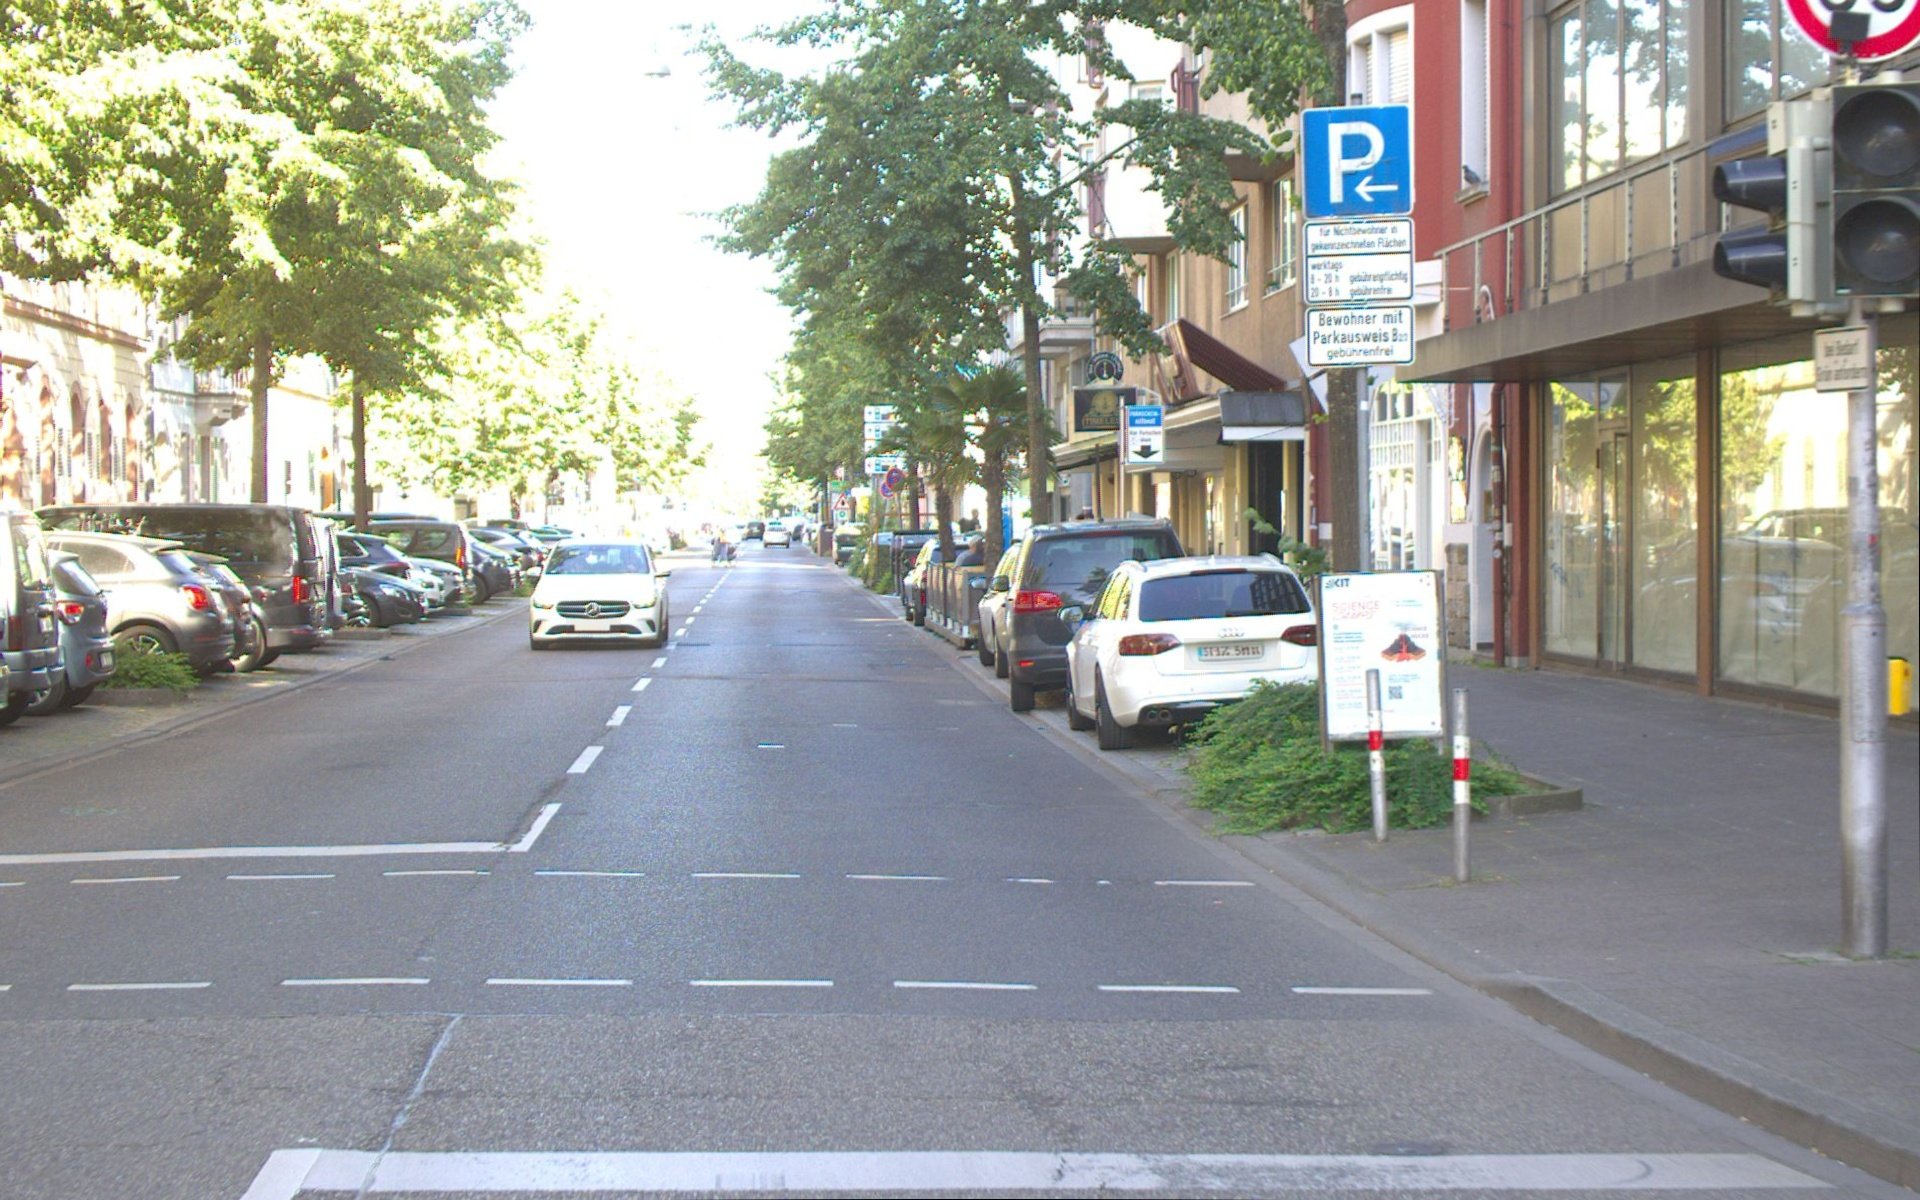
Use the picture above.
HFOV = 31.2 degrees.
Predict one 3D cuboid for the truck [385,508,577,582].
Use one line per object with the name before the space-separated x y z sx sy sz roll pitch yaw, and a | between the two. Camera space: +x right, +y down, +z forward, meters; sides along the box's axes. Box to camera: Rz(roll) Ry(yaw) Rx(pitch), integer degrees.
truck | -13.186 -1.531 94.864 5.084 1.931 2.000 -1 1 -3

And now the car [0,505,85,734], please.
car | -9.576 0.128 28.171 4.339 1.818 1.930 0 1 -1

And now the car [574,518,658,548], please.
car | -16.558 -3.212 165.640 3.986 1.385 2.000 -1 2 -4

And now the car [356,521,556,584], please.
car | -12.376 -1.167 84.632 4.680 1.514 1.808 0 1 -1

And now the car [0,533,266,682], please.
car | -9.950 0.062 37.824 4.338 1.590 1.917 0 1 -5

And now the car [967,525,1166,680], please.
car | 1.163 -0.028 39.816 1.822 1.591 4.843 -3 2 -3

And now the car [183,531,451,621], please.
car | -11.316 -0.436 60.764 4.465 1.535 1.917 0 1 -4

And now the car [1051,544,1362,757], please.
car | 1.829 0.323 27.042 1.822 1.398 4.842 -3 2 -3

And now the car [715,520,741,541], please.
car | -16.921 -5.063 251.063 1.802 1.430 4.410 -3 2 -4

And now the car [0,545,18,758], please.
car | -9.245 0.364 25.465 4.338 1.539 1.965 0 1 -14

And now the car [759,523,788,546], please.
car | -11.984 -4.188 220.880 1.792 1.406 4.001 -1 2 -3

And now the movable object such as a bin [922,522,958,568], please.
movable object such as a bin | -0.735 -2.021 125.765 1.205 1.622 1.498 -1 1 -5

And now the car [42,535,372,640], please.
car | -10.569 -0.185 48.486 4.338 1.434 1.917 0 1 -5

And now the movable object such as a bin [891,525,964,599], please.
movable object such as a bin | -0.662 -0.769 68.906 1.398 1.449 1.146 -1 1 -3

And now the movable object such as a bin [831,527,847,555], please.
movable object such as a bin | -5.132 -2.484 145.258 0.621 1.175 0.712 -1 2 -5

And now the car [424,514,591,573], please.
car | -13.189 -1.645 100.405 4.680 1.687 1.808 0 1 -1

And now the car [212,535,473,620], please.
car | -11.378 -0.429 63.521 4.466 1.535 1.917 0 1 1

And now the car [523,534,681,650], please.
car | -4.976 -0.150 48.280 1.910 1.539 4.354 0 1 -2

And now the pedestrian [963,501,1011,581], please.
pedestrian | 0.649 -1.424 83.293 0.926 1.929 0.760 0 1 22

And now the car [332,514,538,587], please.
car | -12.486 -1.179 81.926 4.680 1.706 1.808 0 1 -1

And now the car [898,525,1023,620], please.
car | -0.038 -0.500 59.203 1.822 1.467 4.912 -3 2 -3

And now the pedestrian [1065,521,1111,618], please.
pedestrian | 2.256 -0.539 60.516 0.502 1.690 0.630 -2 1 -40

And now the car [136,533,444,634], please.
car | -10.448 -0.276 53.847 4.466 1.535 1.917 0 1 -1

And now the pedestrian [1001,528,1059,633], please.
pedestrian | 1.027 -0.291 50.467 0.712 1.531 0.769 -1 1 11

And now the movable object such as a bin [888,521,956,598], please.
movable object such as a bin | -0.775 -0.832 70.065 1.330 1.537 1.146 -1 1 -3

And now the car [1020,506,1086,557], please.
car | 3.043 -2.282 113.691 1.900 1.642 4.294 -1 1 -2

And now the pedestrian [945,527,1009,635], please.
pedestrian | 0.247 -0.276 49.156 0.749 1.531 0.807 -1 1 11

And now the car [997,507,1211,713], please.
car | 1.325 0.023 33.451 1.822 1.771 4.931 -3 2 1

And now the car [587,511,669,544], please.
car | -17.244 -3.765 178.528 3.987 1.688 2.000 -1 2 2

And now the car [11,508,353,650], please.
car | -10.300 -0.288 45.643 4.338 1.827 1.917 0 1 -13

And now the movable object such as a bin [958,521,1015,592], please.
movable object such as a bin | 0.531 -0.894 70.131 1.077 1.426 1.295 -1 1 -3

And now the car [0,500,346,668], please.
car | -9.703 -0.202 40.579 4.573 1.920 1.930 0 1 0

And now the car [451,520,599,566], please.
car | -13.990 -1.829 110.754 4.679 1.460 1.808 0 1 -6

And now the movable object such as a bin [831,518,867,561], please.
movable object such as a bin | -4.149 -2.266 128.167 1.143 1.556 1.459 -1 1 5

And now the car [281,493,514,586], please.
car | -11.940 -1.296 73.140 4.680 1.943 1.917 0 1 -1

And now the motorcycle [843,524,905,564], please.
motorcycle | -2.953 -1.936 117.879 1.977 1.325 0.912 -1 2 -15

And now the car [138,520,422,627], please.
car | -11.091 -0.448 56.304 4.339 1.703 1.917 0 1 -3

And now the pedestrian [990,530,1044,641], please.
pedestrian | 0.789 -0.214 48.064 0.692 1.531 0.776 -1 1 -2

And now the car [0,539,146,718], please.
car | -9.707 0.225 30.853 4.339 1.539 1.917 0 1 1

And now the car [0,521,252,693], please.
car | -9.614 0.047 35.428 4.338 1.727 1.917 0 1 -5

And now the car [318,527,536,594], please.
car | -11.829 -0.890 76.510 4.645 1.454 1.684 0 1 -3

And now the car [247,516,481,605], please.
car | -12.081 -0.813 69.920 4.466 1.766 1.917 0 1 -1

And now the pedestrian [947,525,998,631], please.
pedestrian | 0.178 -0.337 50.452 0.650 1.531 0.980 -1 1 -5

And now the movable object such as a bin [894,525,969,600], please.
movable object such as a bin | -0.568 -0.751 67.725 1.398 1.449 1.146 -1 1 -3
